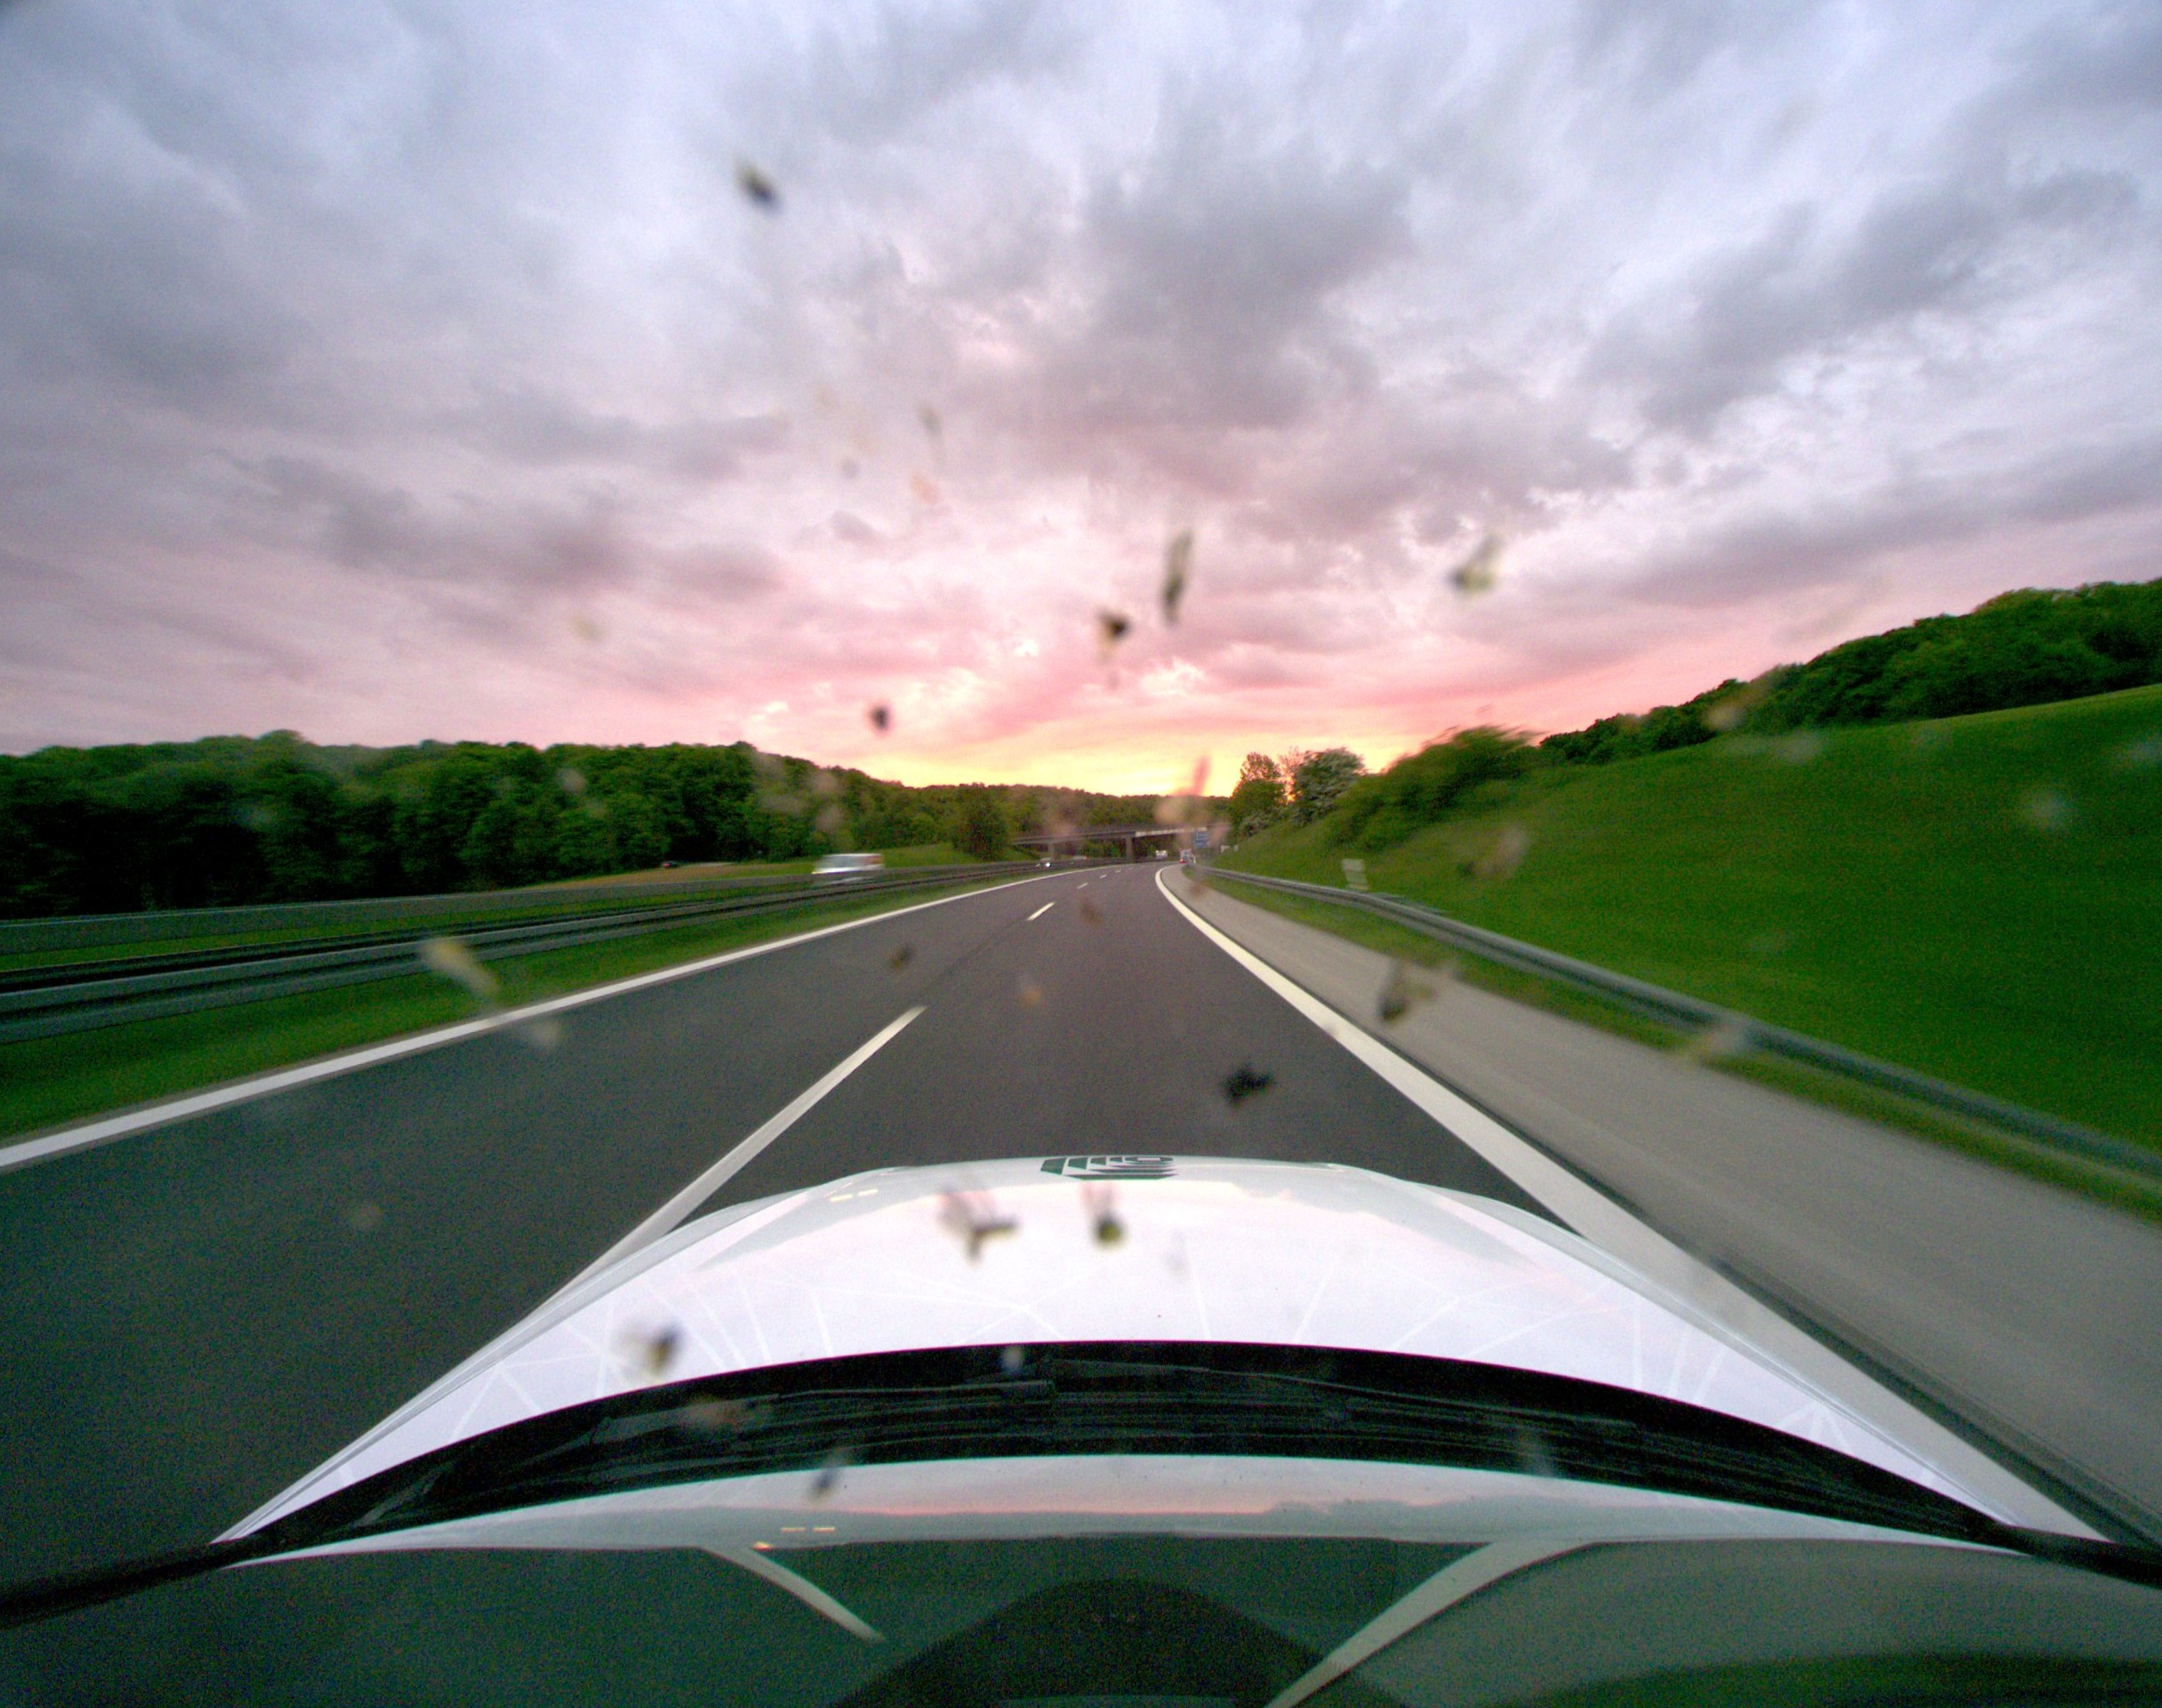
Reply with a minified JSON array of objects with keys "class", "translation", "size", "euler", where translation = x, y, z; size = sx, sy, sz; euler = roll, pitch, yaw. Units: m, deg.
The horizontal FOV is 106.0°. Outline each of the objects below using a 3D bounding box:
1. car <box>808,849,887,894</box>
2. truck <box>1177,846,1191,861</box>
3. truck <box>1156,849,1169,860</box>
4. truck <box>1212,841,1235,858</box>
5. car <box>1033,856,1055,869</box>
[{"class":"car","translation":[-12.659,0.874,44.596],"size":[2.272,2.013,5.263],"euler":[-7,0,4]},{"class":"truck","translation":[20.524,-0.143,161.593],"size":[2.261,2.665,5.253],"euler":[-3,1,11]},{"class":"truck","translation":[22.983,0.225,230.666],"size":[2.593,3.109,6.695],"euler":[-1,0,15]},{"class":"truck","translation":[39.839,-1.272,227.440],"size":[3.925,4.287,14.393],"euler":[-2,0,19]},{"class":"car","translation":[-4.922,1.126,110.025],"size":[2.013,1.659,4.683],"euler":[-2,0,9]}]
